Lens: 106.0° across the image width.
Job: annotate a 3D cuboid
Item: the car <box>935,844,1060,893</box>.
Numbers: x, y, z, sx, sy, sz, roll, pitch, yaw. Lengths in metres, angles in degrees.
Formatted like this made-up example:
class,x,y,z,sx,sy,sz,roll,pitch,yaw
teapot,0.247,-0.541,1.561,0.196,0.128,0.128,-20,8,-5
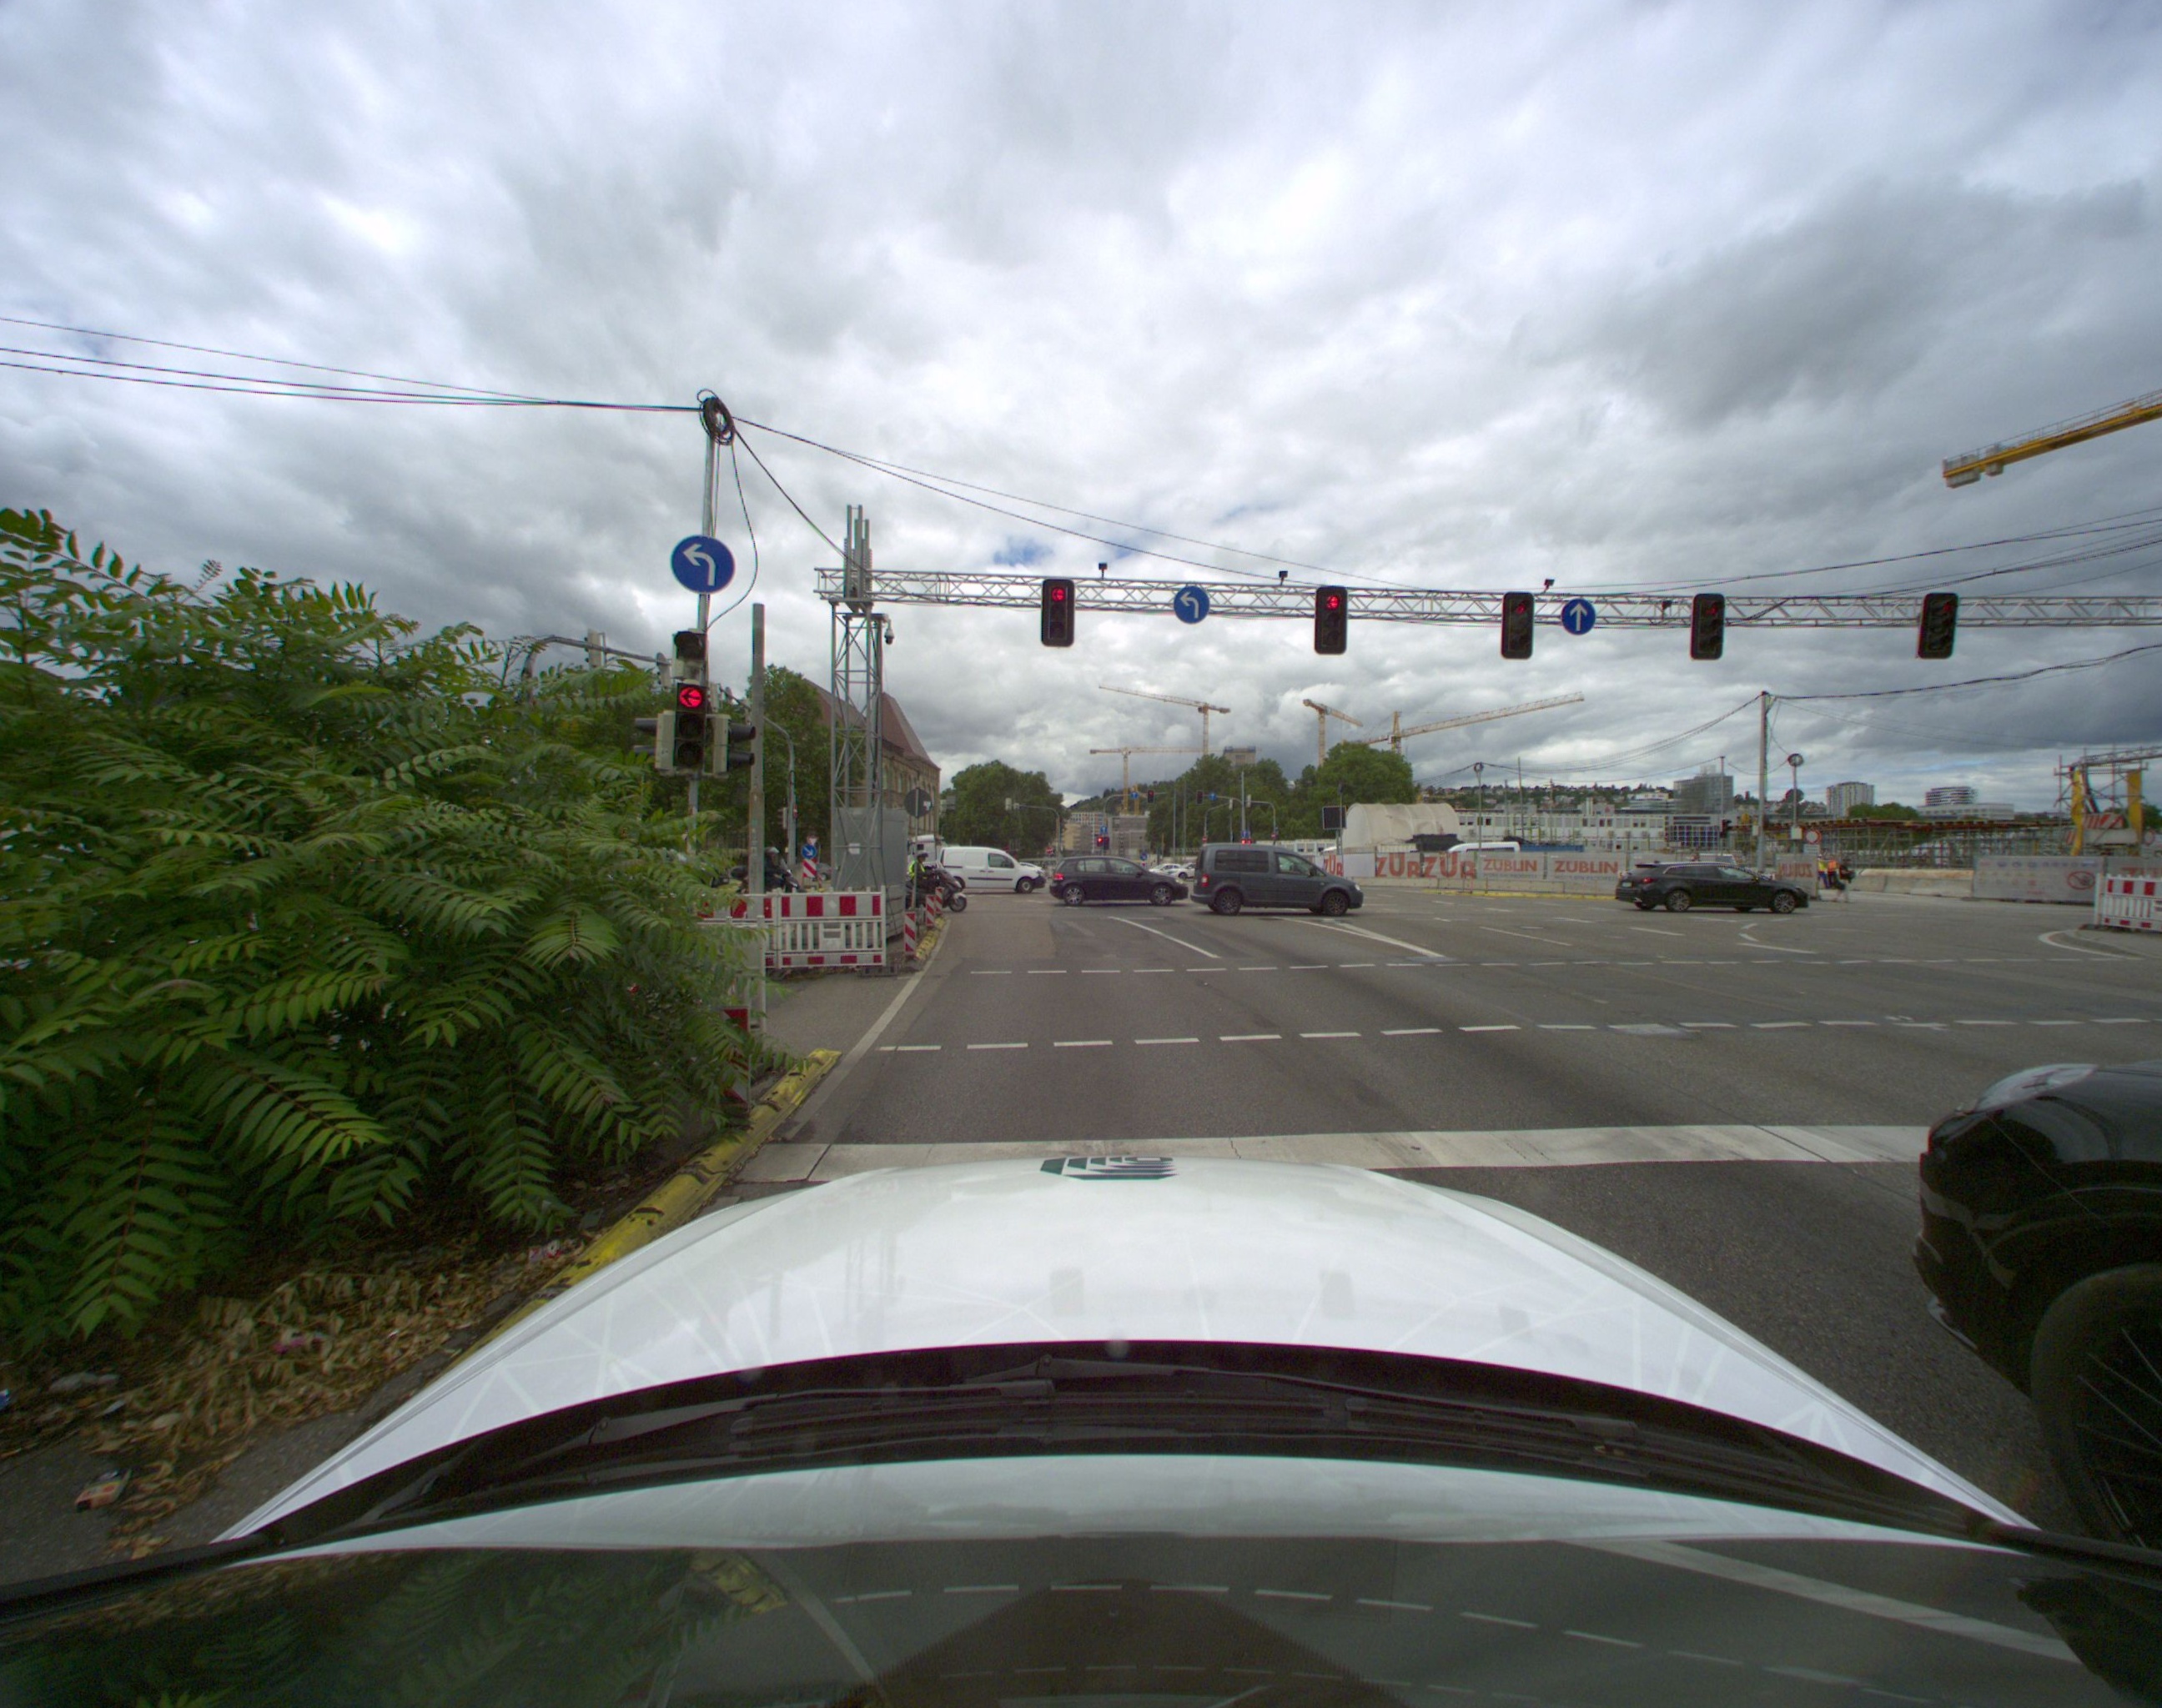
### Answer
class,x,y,z,sx,sy,sz,roll,pitch,yaw
car,-3.311,0.541,31.936,4.711,1.833,1.862,0,-1,-13

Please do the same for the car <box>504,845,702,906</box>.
class,x,y,z,sx,sy,sz,roll,pitch,yaw
car,-14.048,0.624,24.139,4.656,1.702,1.999,0,-1,-1

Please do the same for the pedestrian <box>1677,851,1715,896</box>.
class,x,y,z,sx,sy,sz,roll,pitch,yaw
pedestrian,25.701,0.810,34.042,1.035,1.848,0.794,-1,-1,17

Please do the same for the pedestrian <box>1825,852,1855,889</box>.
class,x,y,z,sx,sy,sz,roll,pitch,yaw
pedestrian,39.175,0.838,42.049,0.677,1.916,0.865,0,-1,-4

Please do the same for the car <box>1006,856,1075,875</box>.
class,x,y,z,sx,sy,sz,roll,pitch,yaw
car,-3.285,0.932,66.255,5.153,1.419,2.221,0,-1,-22

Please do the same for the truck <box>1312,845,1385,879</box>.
class,x,y,z,sx,sy,sz,roll,pitch,yaw
truck,25.514,0.721,77.654,6.607,3.146,2.350,0,-1,-22

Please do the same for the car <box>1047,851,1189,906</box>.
class,x,y,z,sx,sy,sz,roll,pitch,yaw
car,1.058,0.717,24.515,4.096,1.547,1.998,0,-1,-2

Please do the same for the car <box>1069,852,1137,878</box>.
class,x,y,z,sx,sy,sz,roll,pitch,yaw
car,1.439,0.698,54.000,4.176,1.701,1.955,0,0,-18

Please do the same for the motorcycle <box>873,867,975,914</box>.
class,x,y,z,sx,sy,sz,roll,pitch,yaw
motorcycle,-4.001,0.917,20.866,2.413,1.155,0.818,0,-1,2

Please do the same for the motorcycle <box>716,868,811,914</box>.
class,x,y,z,sx,sy,sz,roll,pitch,yaw
motorcycle,-8.119,0.944,20.857,2.159,1.155,0.652,0,-1,2

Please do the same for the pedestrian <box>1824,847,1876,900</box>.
class,x,y,z,sx,sy,sz,roll,pitch,yaw
pedestrian,30.091,0.750,31.877,1.039,2.014,1.035,0,-1,2

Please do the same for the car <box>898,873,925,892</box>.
class,x,y,z,sx,sy,sz,roll,pitch,yaw
car,-17.154,2.847,82.650,1.987,1.838,3.998,0,-1,-1

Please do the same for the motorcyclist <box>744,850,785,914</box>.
class,x,y,z,sx,sy,sz,roll,pitch,yaw
motorcyclist,-8.100,0.706,20.868,0.783,1.597,0.652,0,-1,2

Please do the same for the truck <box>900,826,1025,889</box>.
class,x,y,z,sx,sy,sz,roll,pitch,yaw
truck,-9.753,0.244,67.248,9.750,4.961,3.092,0,-1,-21

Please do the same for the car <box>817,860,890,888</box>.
class,x,y,z,sx,sy,sz,roll,pitch,yaw
car,-17.100,1.480,61.231,5.149,2.014,2.063,0,-1,-21

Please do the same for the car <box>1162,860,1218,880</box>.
class,x,y,z,sx,sy,sz,roll,pitch,yaw
car,9.624,1.394,71.969,4.602,1.724,1.895,0,-1,-22

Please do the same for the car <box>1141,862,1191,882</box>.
class,x,y,z,sx,sy,sz,roll,pitch,yaw
car,7.792,1.632,74.736,4.164,1.724,1.895,0,-1,-22

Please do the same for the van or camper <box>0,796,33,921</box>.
class,x,y,z,sx,sy,sz,roll,pitch,yaw
van or camper,-25.759,0.117,16.621,6.041,2.610,2.160,0,0,1

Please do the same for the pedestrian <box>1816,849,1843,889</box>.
class,x,y,z,sx,sy,sz,roll,pitch,yaw
pedestrian,38.288,0.744,41.654,0.673,2.014,0.869,-1,-1,14

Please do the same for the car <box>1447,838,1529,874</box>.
class,x,y,z,sx,sy,sz,roll,pitch,yaw
car,23.469,0.120,47.098,3.955,2.014,2.009,-1,-1,17

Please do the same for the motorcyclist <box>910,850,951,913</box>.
class,x,y,z,sx,sy,sz,roll,pitch,yaw
motorcyclist,-3.841,0.698,20.858,0.875,1.571,0.818,0,-1,2

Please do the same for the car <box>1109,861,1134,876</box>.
class,x,y,z,sx,sy,sz,roll,pitch,yaw
car,5.247,1.827,105.532,1.999,1.838,3.975,0,-1,-19

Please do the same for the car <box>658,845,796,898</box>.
class,x,y,z,sx,sy,sz,roll,pitch,yaw
car,-12.984,0.622,29.969,4.217,1.834,2.006,-1,1,10

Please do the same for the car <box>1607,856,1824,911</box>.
class,x,y,z,sx,sy,sz,roll,pitch,yaw
car,17.926,0.815,23.247,4.462,1.466,2.006,-1,-1,10

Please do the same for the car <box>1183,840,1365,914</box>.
class,x,y,z,sx,sy,sz,roll,pitch,yaw
car,4.896,0.573,21.116,4.254,1.805,2.000,0,-1,1

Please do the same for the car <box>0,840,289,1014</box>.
class,x,y,z,sx,sy,sz,roll,pitch,yaw
car,-11.519,0.707,9.377,1.887,1.626,4.339,0,-1,-22

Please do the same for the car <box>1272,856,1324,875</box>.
class,x,y,z,sx,sy,sz,roll,pitch,yaw
car,21.178,1.125,79.524,4.585,1.774,1.985,1,2,-23

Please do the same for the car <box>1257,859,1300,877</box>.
class,x,y,z,sx,sy,sz,roll,pitch,yaw
car,21.131,1.476,87.190,2.011,1.838,3.951,0,-1,-43
